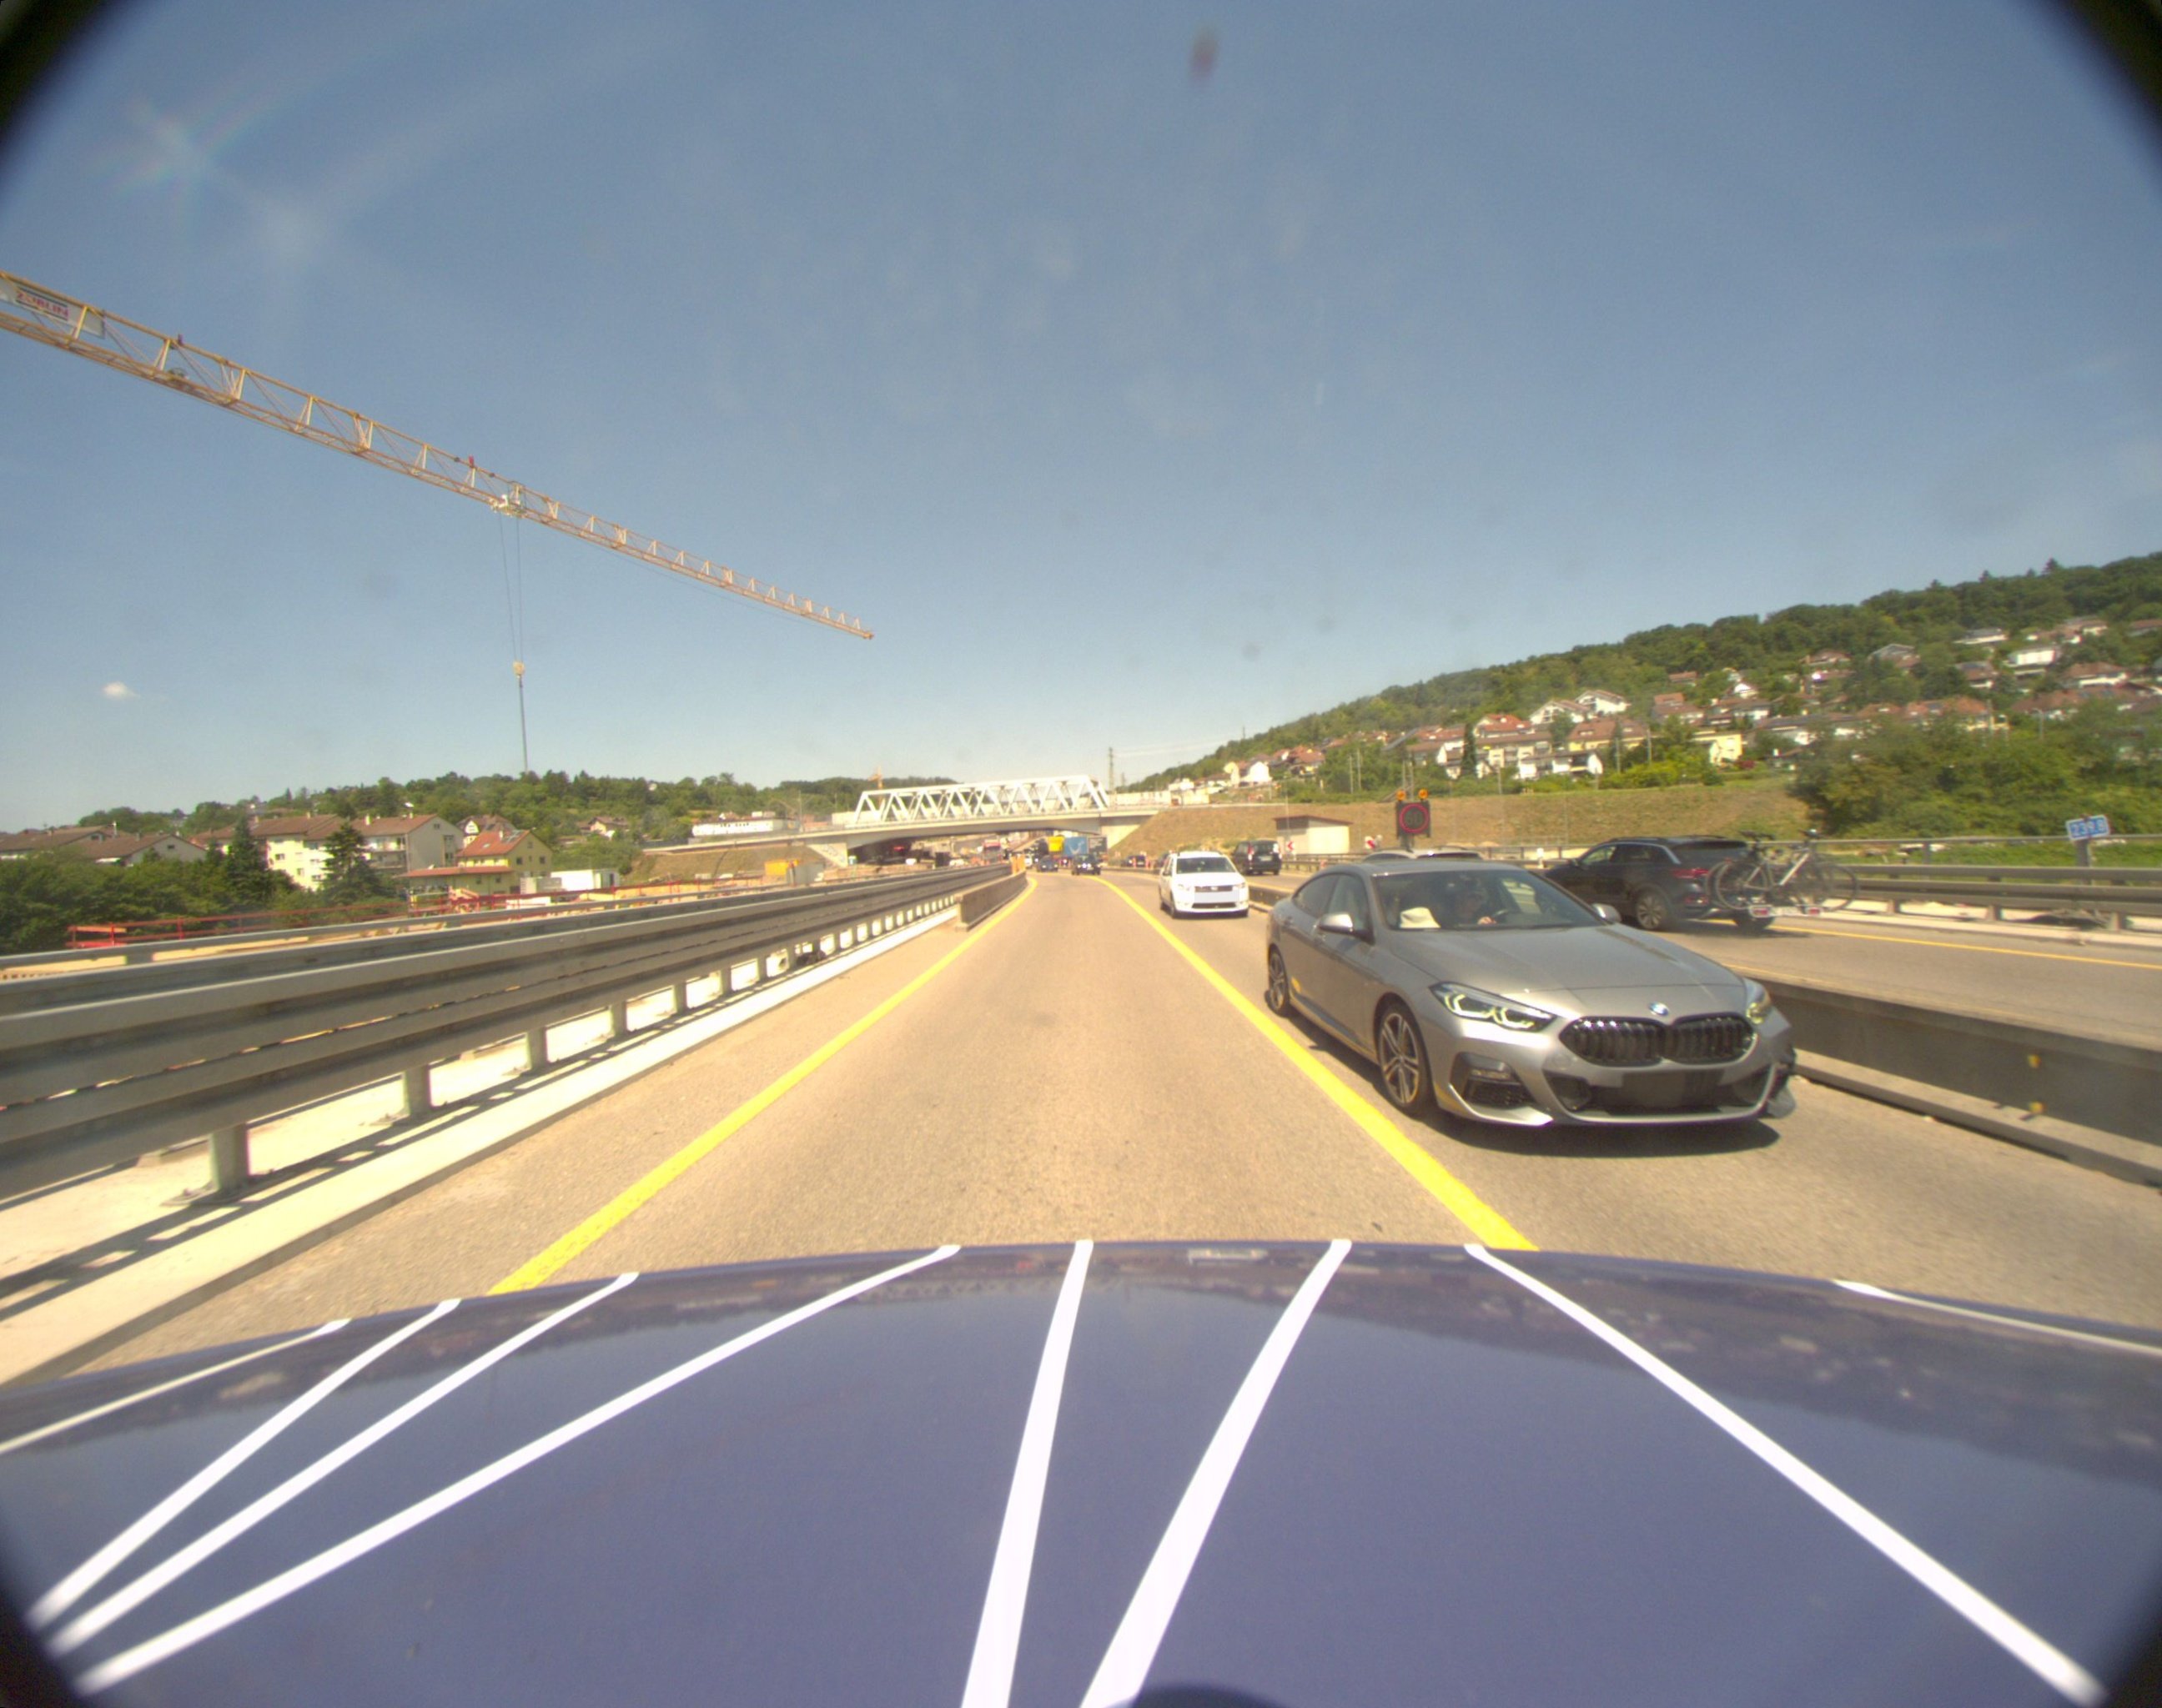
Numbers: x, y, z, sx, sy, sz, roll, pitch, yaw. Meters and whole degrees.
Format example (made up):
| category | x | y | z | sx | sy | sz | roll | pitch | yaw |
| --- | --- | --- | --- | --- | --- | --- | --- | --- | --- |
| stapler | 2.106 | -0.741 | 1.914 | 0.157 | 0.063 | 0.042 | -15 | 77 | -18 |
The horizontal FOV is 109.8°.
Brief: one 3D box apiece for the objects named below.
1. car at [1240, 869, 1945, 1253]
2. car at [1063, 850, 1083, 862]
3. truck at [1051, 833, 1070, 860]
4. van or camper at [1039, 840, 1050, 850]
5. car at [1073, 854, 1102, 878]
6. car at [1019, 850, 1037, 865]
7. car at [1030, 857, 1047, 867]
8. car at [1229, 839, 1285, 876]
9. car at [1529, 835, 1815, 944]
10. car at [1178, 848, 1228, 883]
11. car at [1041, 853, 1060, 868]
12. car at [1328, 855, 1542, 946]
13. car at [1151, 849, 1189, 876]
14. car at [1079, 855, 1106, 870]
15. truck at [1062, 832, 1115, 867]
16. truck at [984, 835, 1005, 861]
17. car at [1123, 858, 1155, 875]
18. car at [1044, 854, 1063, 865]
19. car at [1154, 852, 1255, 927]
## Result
| category | x | y | z | sx | sy | sz | roll | pitch | yaw |
| --- | --- | --- | --- | --- | --- | --- | --- | --- | --- |
| car | 2.595 | 0.895 | 5.479 | 1.856 | 1.443 | 4.742 | -1 | 0 | 0 |
| car | -0.998 | 0.214 | 91.042 | 1.907 | 1.453 | 4.191 | 0 | 0 | -9 |
| truck | -3.702 | -1.251 | 133.828 | 3.174 | 4.531 | 12.082 | 0 | 0 | -3 |
| van or camper | -7.986 | -2.038 | 165.811 | 2.332 | 2.068 | 5.425 | -2 | 1 | -3 |
| car | 0.487 | 0.896 | 57.934 | 1.863 | 1.683 | 4.095 | -1 | 0 | -4 |
| car | -7.148 | 0.526 | 102.440 | 1.793 | 1.870 | 3.997 | -4 | 0 | -11 |
| car | -6.359 | 1.111 | 113.598 | 1.908 | 1.453 | 4.190 | 0 | 0 | -10 |
| car | 9.753 | 0.199 | 42.482 | 1.928 | 1.922 | 4.938 | -1 | 0 | 0 |
| car | 9.879 | 0.526 | 13.176 | 1.818 | 1.560 | 4.000 | -1 | 0 | 0 |
| car | 5.941 | 0.511 | 37.441 | 1.745 | 1.573 | 4.084 | -1 | 1 | -1 |
| car | -3.417 | 0.720 | 84.363 | 1.792 | 1.578 | 3.998 | -4 | 0 | -6 |
| car | 6.295 | 0.737 | 14.195 | 1.830 | 1.410 | 4.657 | 0 | 0 | 0 |
| car | 5.504 | 0.503 | 47.310 | 1.745 | 1.464 | 4.084 | -3 | 1 | -1 |
| car | 1.176 | 0.858 | 80.941 | 2.017 | 1.516 | 4.190 | -1 | 0 | -10 |
| truck | 0.699 | -0.596 | 99.739 | 3.271 | 4.112 | 17.314 | -3 | 1 | -11 |
| truck | -12.559 | -0.829 | 110.073 | 2.704 | 3.704 | 8.501 | 0 | 0 | -8 |
| car | 4.636 | 0.994 | 61.252 | 1.866 | 1.314 | 4.686 | 0 | 0 | -5 |
| car | -3.796 | 0.750 | 103.402 | 1.908 | 1.453 | 4.189 | 0 | 1 | -11 |
| car | 2.909 | 0.756 | 18.821 | 1.823 | 1.521 | 4.706 | -2 | 1 | 2 |
